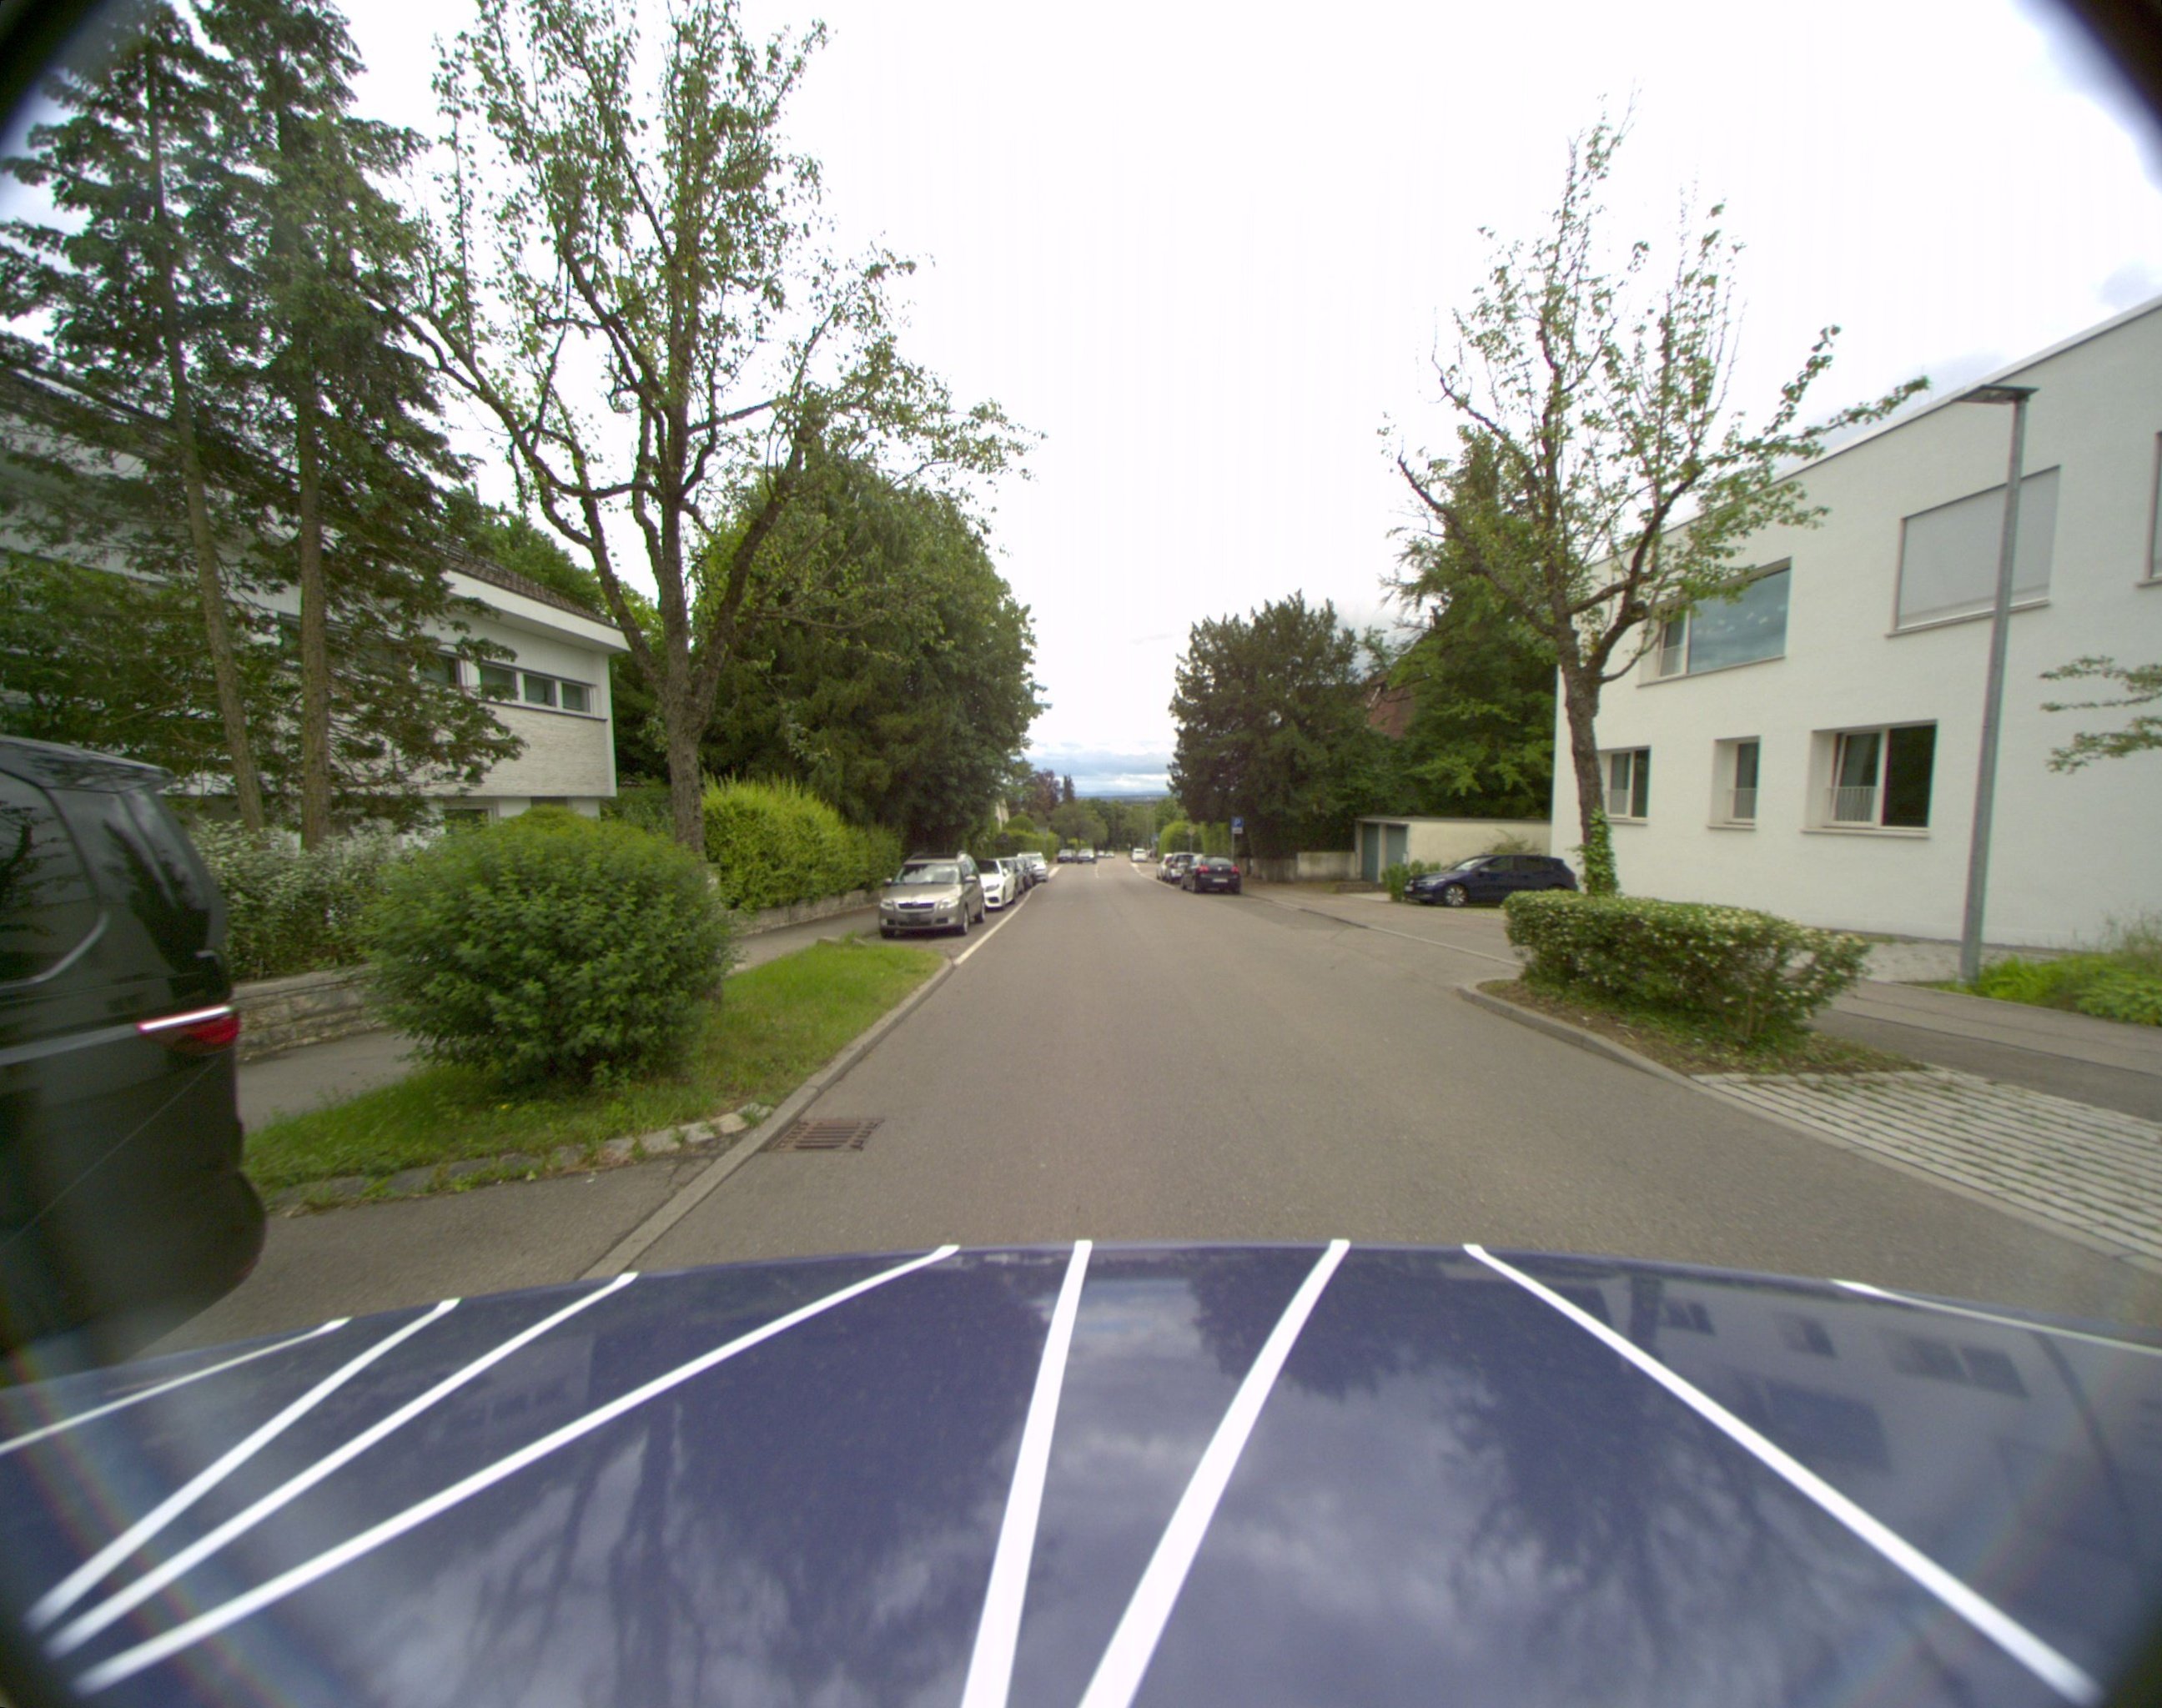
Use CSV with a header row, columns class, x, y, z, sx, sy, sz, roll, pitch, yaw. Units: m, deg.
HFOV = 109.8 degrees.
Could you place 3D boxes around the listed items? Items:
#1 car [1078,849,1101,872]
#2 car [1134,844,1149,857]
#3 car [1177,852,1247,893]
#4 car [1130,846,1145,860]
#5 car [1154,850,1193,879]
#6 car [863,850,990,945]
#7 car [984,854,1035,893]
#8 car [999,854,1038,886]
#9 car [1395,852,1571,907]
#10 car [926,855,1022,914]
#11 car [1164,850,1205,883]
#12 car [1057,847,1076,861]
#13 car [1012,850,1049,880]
class,x,y,z,sx,sy,sz,roll,pitch,yaw
car,0.886,0.642,77.049,1.998,2.001,4.001,-8,-1,1
car,6.861,-0.416,86.363,1.693,1.411,3.580,2,1,4
car,5.032,0.647,29.840,1.855,1.461,4.682,0,0,-1
car,6.777,-0.107,91.467,1.786,1.481,4.739,3,1,3
car,5.016,0.525,41.686,1.749,1.439,3.513,2,1,1
car,-3.030,0.771,15.689,1.721,1.623,3.928,-2,1,0
car,-3.041,0.797,33.090,1.702,1.499,4.159,-3,1,1
car,-3.102,0.769,38.064,1.815,1.444,4.376,0,1,-4
car,10.682,0.660,20.403,3.803,1.346,1.741,-1,1,2
car,-2.988,0.805,22.309,1.998,1.483,5.004,0,0,1
car,5.102,0.579,37.696,1.628,1.510,2.974,-1,1,-1
car,-1.643,-0.019,85.401,1.794,1.480,4.380,0,0,4
car,-2.857,0.588,42.731,2.006,1.599,4.756,0,0,-4
